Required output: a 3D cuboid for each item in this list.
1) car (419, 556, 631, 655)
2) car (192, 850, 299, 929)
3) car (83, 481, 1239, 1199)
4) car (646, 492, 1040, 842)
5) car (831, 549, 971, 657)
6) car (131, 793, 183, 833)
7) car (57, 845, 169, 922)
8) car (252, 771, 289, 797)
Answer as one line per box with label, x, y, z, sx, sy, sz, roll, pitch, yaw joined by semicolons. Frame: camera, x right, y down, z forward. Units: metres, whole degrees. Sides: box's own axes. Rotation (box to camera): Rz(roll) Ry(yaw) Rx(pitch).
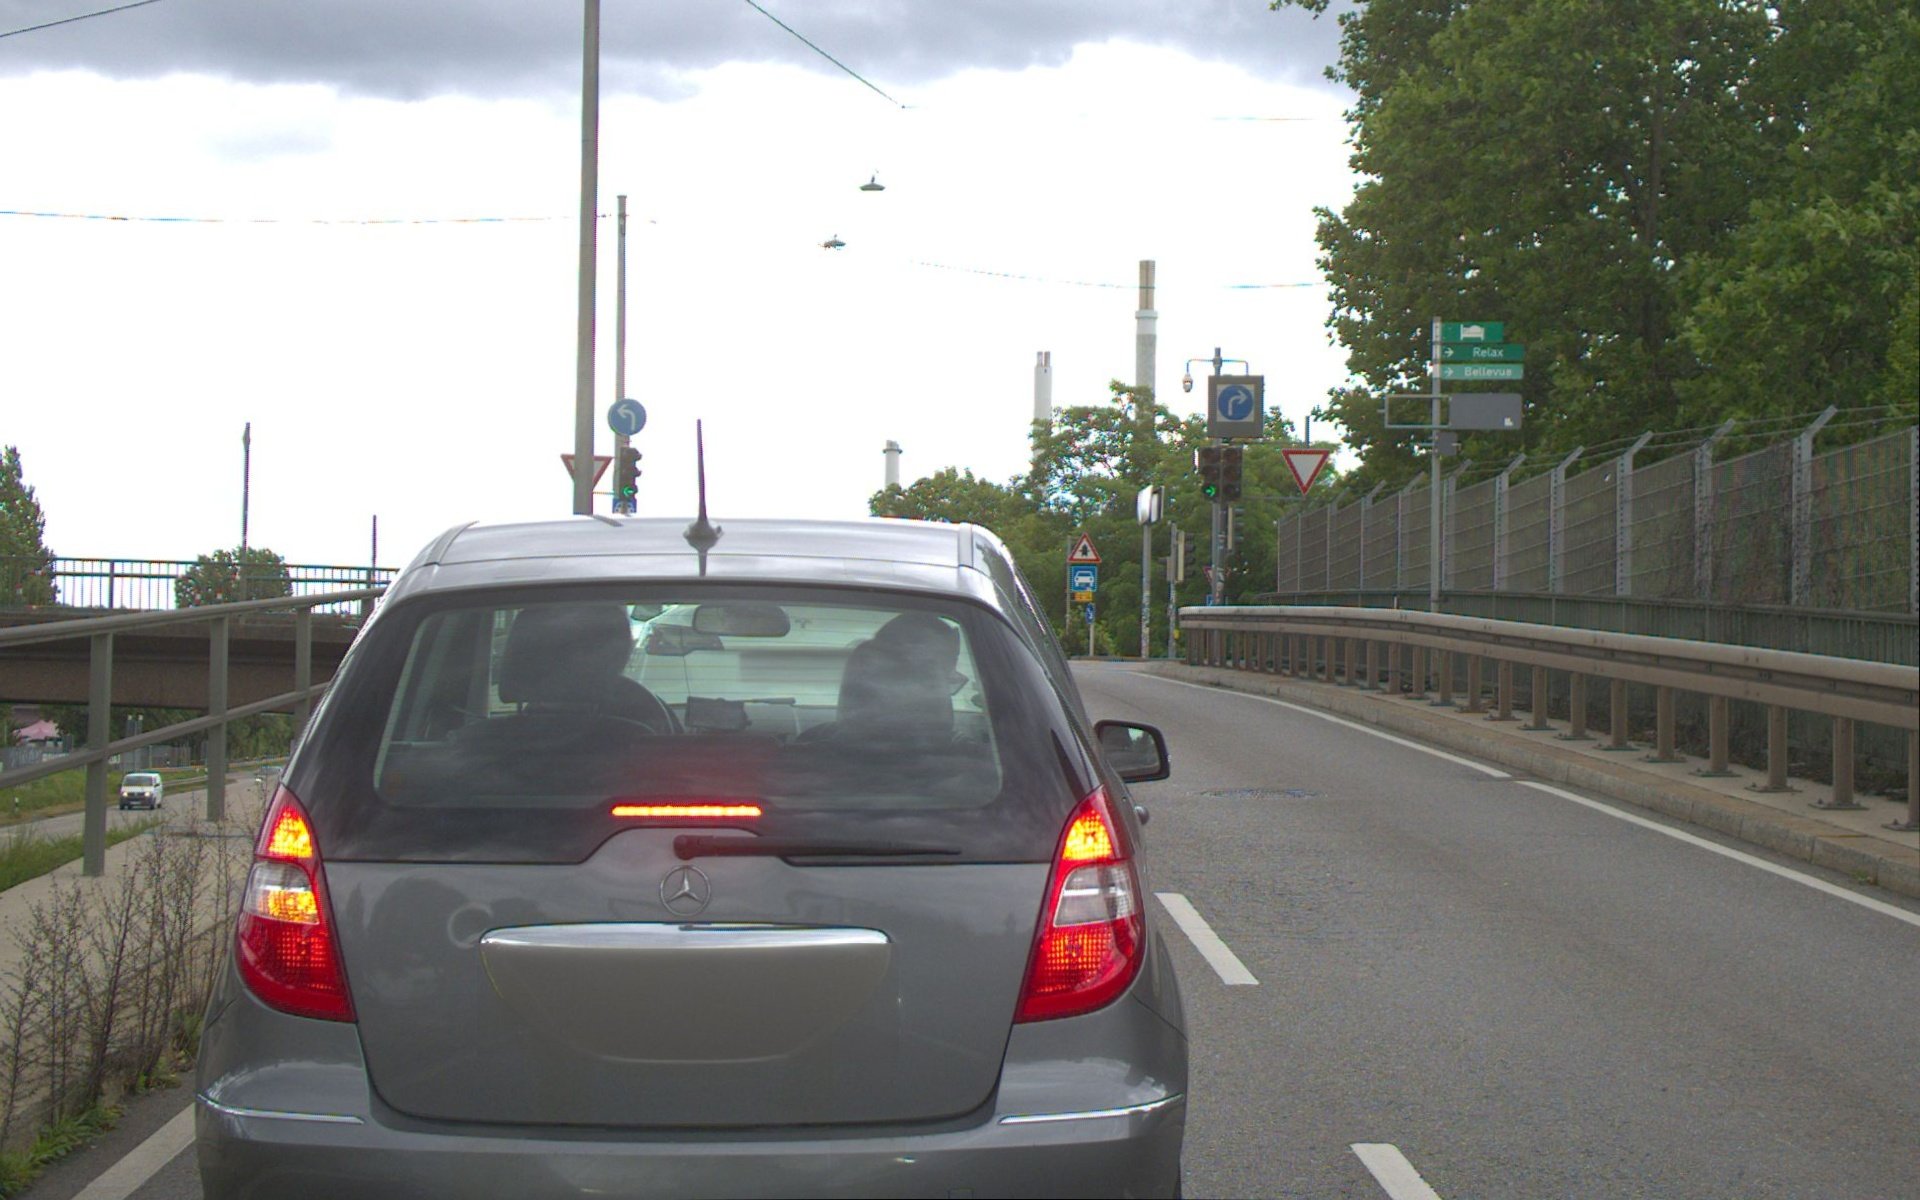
car;-8.605;0.082;67.869;1.995;1.864;4.211;0;1;-45
car;-16.684;6.743;80.469;1.898;1.616;4.179;1;-2;-4
car;-0.510;0.581;7.576;1.857;1.583;4.000;1;1;-1
car;-0.684;0.310;19.256;1.931;1.711;4.406;1;1;-3
car;-1.025;0.031;57.334;1.931;1.711;4.001;1;1;-7
car;-44.491;11.774;190.497;1.993;2.060;5.177;1;-2;-4
car;-20.272;6.767;82.394;1.898;1.616;4.179;1;-2;-4
car;-47.921;12.799;239.047;1.915;1.733;4.553;0;-2;-4
